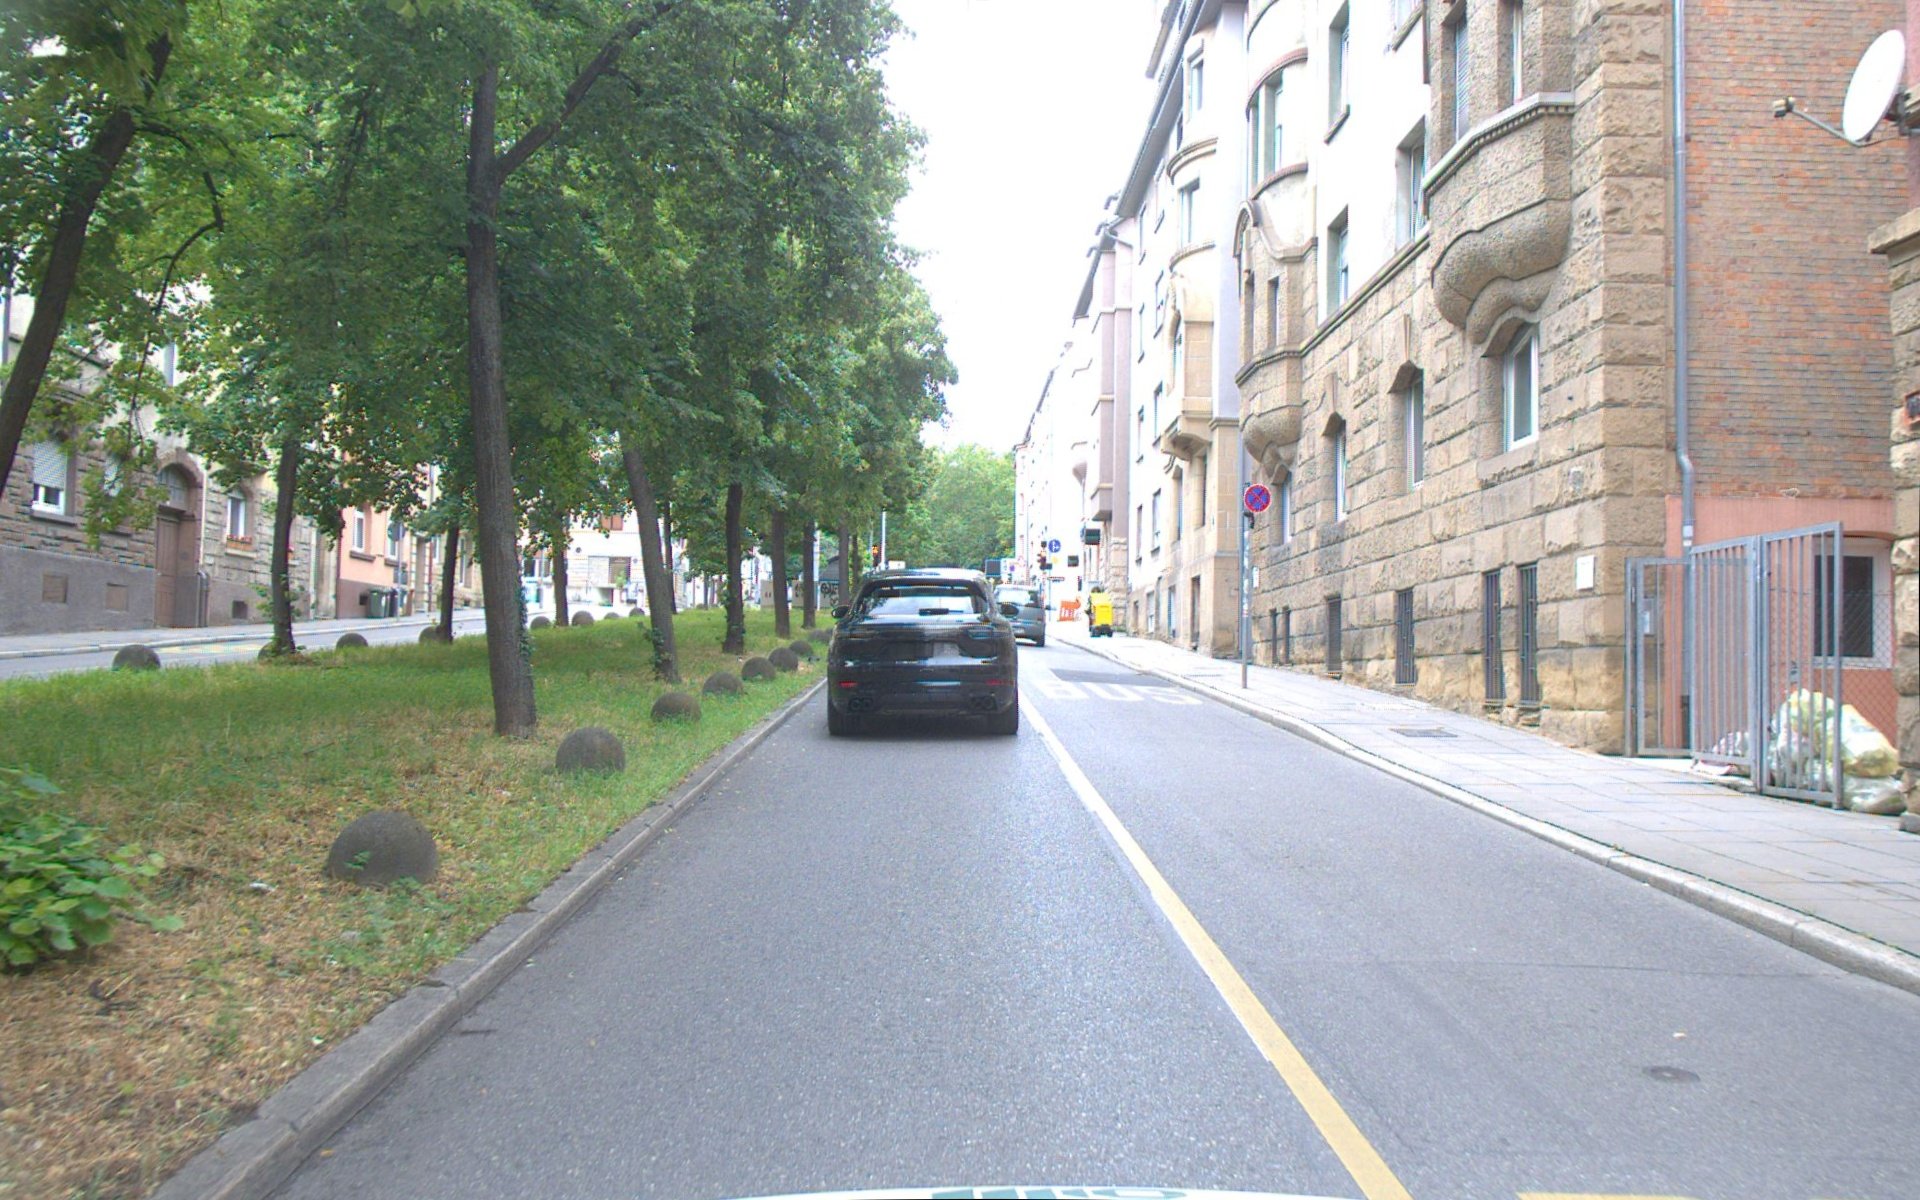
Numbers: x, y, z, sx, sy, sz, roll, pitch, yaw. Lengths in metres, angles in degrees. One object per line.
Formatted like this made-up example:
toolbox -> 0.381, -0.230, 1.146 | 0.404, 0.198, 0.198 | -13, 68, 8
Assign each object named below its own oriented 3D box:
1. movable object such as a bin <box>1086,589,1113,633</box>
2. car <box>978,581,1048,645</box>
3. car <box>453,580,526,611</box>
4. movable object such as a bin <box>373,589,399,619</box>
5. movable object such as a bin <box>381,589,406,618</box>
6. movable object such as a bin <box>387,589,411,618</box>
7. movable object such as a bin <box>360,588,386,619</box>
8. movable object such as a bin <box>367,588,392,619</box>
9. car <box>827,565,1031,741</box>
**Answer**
movable object such as a bin -> 4.684, 0.373, 55.550 | 0.705, 1.446, 1.692 | 0, -1, -3
car -> 1.445, 0.326, 46.050 | 1.717, 1.621, 3.630 | 2, 1, -1
car -> -26.936, -0.239, 94.649 | 3.916, 1.694, 1.877 | -1, -2, 33
movable object such as a bin -> -18.241, 0.116, 52.584 | 0.597, 0.920, 0.601 | 2, 0, -5
movable object such as a bin -> -18.266, 0.122, 53.347 | 0.597, 0.920, 0.601 | 2, 0, -5
movable object such as a bin -> -18.329, 0.124, 54.026 | 0.597, 0.920, 0.601 | 2, 0, -5
movable object such as a bin -> -18.191, 0.106, 51.261 | 0.597, 0.920, 0.601 | 2, 0, -5
movable object such as a bin -> -18.213, 0.110, 51.895 | 0.597, 0.920, 0.601 | 2, 0, -5
car -> -0.291, 0.495, 17.883 | 1.953, 1.682, 4.000 | 0, 0, 0
